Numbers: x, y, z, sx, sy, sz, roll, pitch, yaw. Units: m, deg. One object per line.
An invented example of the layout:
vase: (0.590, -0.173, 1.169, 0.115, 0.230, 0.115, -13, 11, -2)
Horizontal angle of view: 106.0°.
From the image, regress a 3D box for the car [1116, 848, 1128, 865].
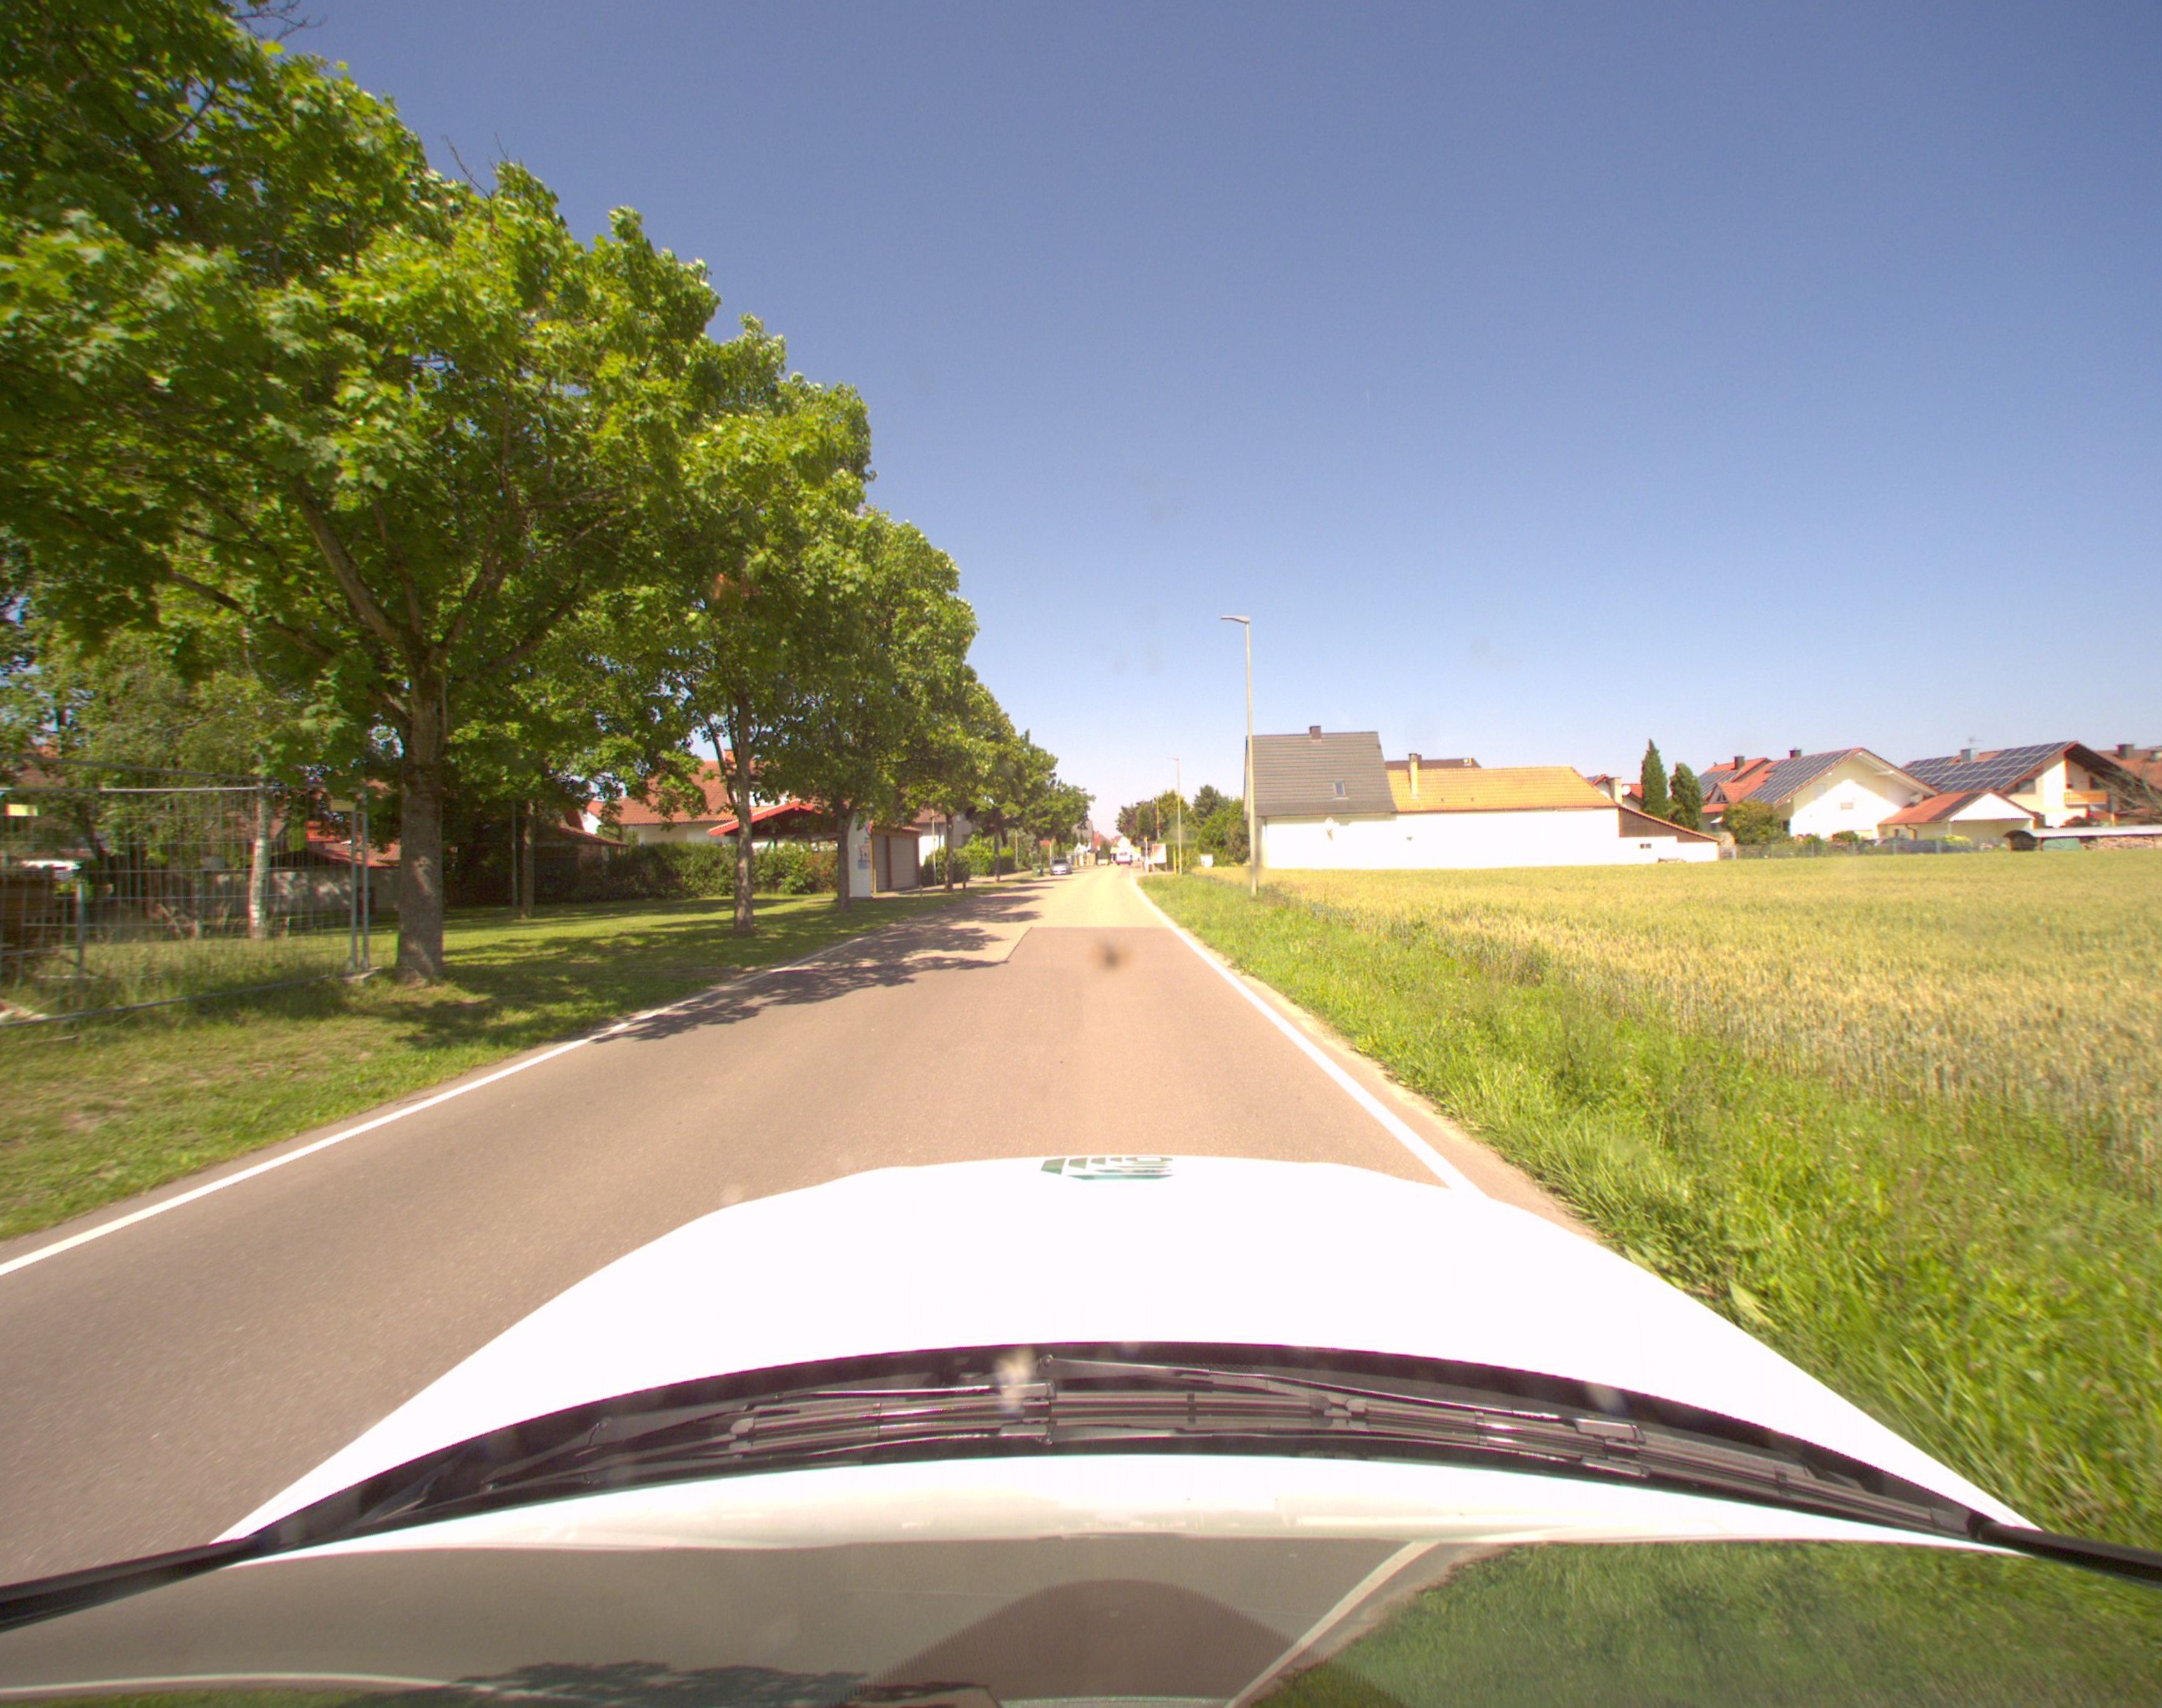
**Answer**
car: (6.325, 0.360, 124.991, 1.730, 2.432, 4.377, -2, 0, 3)

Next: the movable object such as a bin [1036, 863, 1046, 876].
movable object such as a bin: (-3.234, 1.252, 65.755, 0.570, 1.079, 0.601, -2, -1, 16)

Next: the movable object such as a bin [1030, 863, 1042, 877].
movable object such as a bin: (-3.564, 1.283, 65.020, 0.706, 1.079, 0.643, -2, -1, 28)

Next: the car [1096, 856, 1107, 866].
car: (3.276, 1.139, 129.245, 1.660, 1.524, 3.442, -3, 0, 0)

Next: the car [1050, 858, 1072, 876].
car: (-1.721, 1.092, 70.343, 1.641, 1.423, 4.081, -4, 0, 1)
